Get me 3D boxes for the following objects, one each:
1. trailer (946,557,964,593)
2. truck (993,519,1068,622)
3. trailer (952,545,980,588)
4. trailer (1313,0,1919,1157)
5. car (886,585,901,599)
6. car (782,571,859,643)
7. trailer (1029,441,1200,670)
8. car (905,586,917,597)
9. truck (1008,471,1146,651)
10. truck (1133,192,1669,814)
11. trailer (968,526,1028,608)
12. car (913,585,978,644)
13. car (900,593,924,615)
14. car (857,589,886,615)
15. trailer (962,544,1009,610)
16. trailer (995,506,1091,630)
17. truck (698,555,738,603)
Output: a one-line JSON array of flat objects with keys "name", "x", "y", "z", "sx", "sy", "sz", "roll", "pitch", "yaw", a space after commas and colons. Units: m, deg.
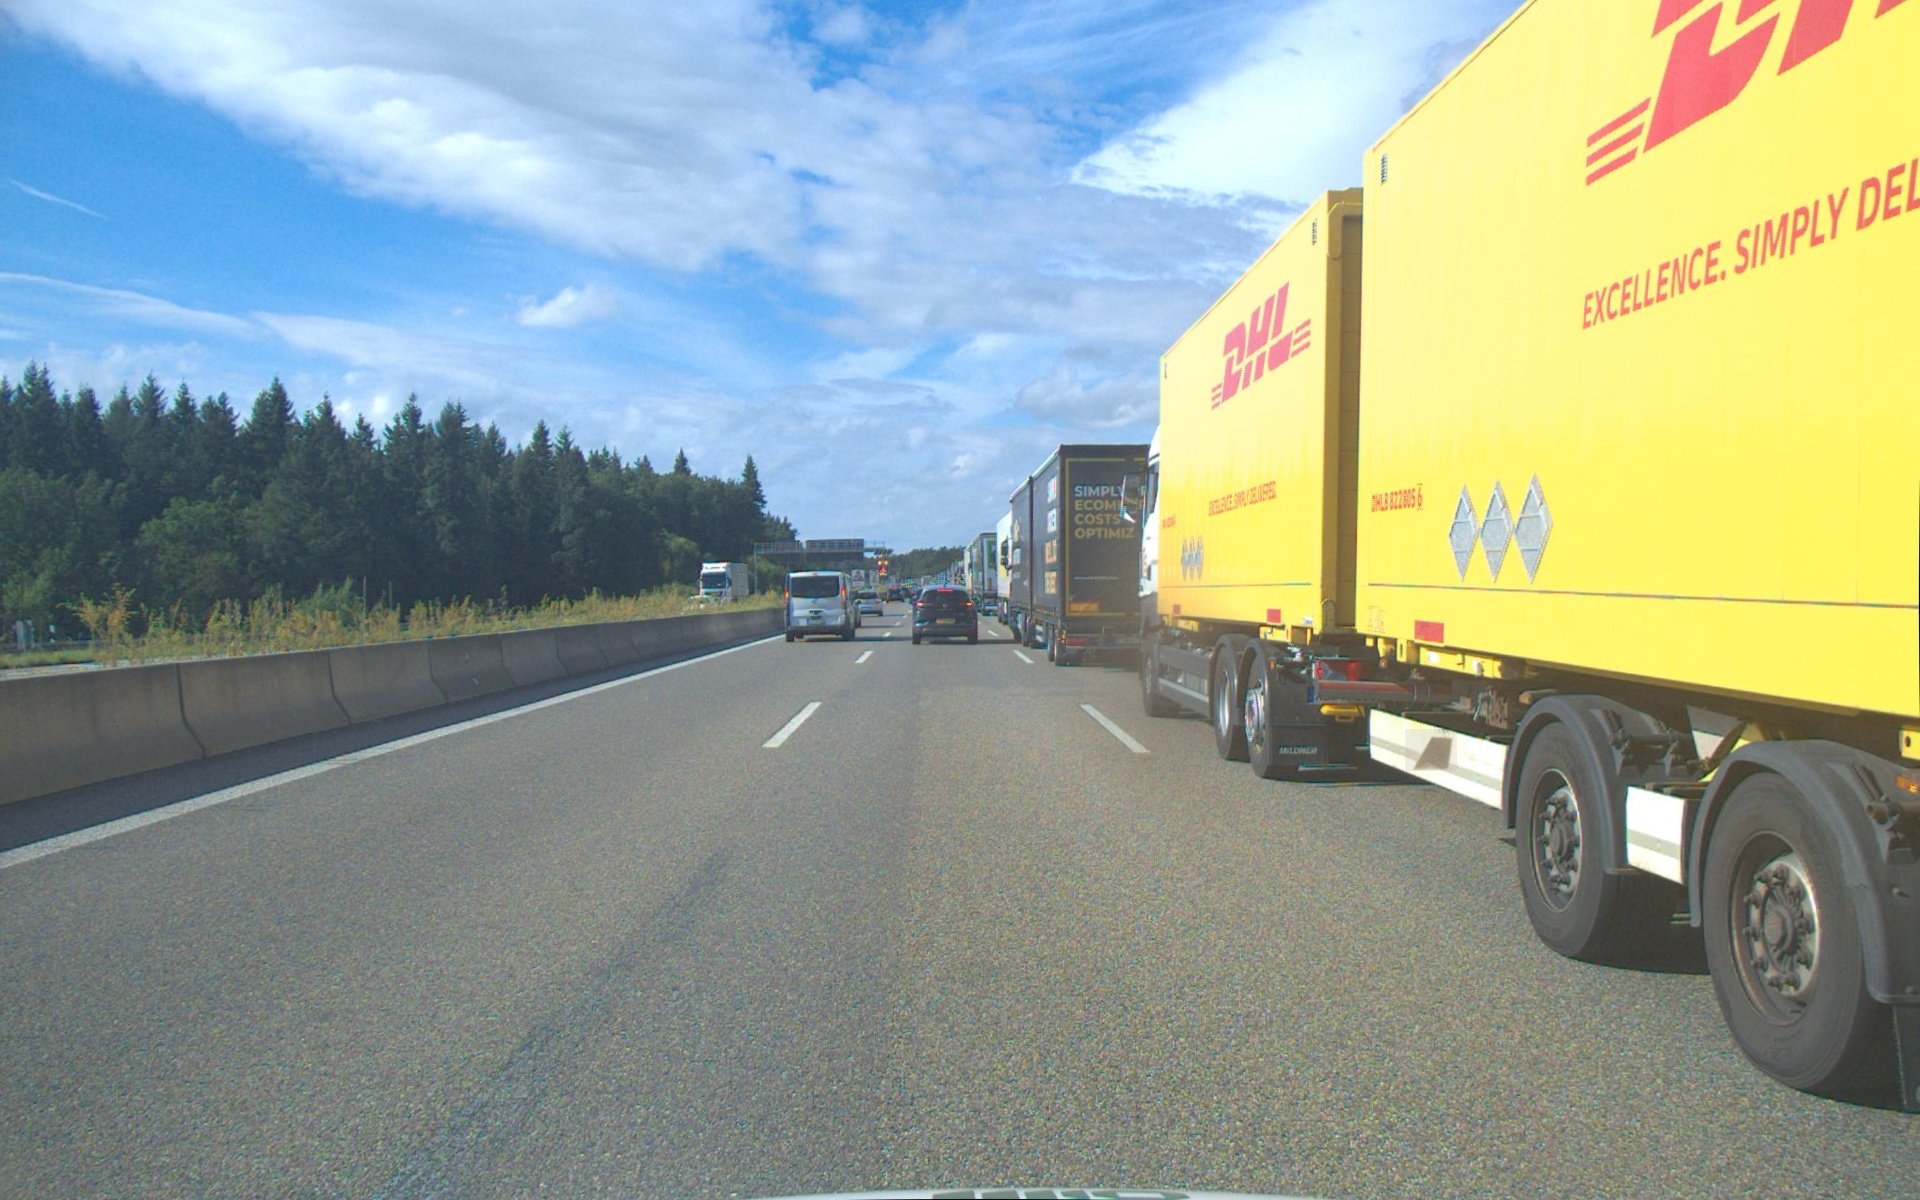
[{"name": "trailer", "x": -0.627, "y": -3.037, "z": 204.102, "sx": 2.106, "sy": 4.333, "sz": 8.439, "roll": -2, "pitch": 0, "yaw": 0}, {"name": "truck", "x": 2.831, "y": -1.182, "z": 67.862, "sx": 2.745, "sy": 4.007, "sz": 5.825, "roll": -1, "pitch": 0, "yaw": 0}, {"name": "trailer", "x": 0.646, "y": -3.550, "z": 177.945, "sx": 2.745, "sy": 4.318, "sz": 11.056, "roll": -3, "pitch": 0, "yaw": 0}, {"name": "trailer", "x": 3.664, "y": -0.626, "z": 6.643, "sx": 2.363, "sy": 4.139, "sz": 8.925, "roll": 1, "pitch": 1, "yaw": -1}, {"name": "car", "x": -6.494, "y": -0.821, "z": 162.489, "sx": 1.406, "sy": 1.333, "sz": 3.532, "roll": 1, "pitch": 0, "yaw": -1}, {"name": "car", "x": -4.084, "y": 0.181, "z": 49.154, "sx": 1.893, "sy": 2.013, "sz": 5.097, "roll": 1, "pitch": 0, "yaw": -1}, {"name": "trailer", "x": 2.924, "y": -0.855, "z": 33.707, "sx": 2.660, "sy": 4.030, "sz": 8.712, "roll": 1, "pitch": 1, "yaw": 0}, {"name": "car", "x": -5.768, "y": -1.010, "z": 194.501, "sx": 1.406, "sy": 1.333, "sz": 3.532, "roll": 1, "pitch": 0, "yaw": -1}, {"name": "truck", "x": 2.848, "y": -0.916, "z": 43.171, "sx": 2.685, "sy": 4.109, "sz": 10.201, "roll": 1, "pitch": 0, "yaw": -1}, {"name": "truck", "x": 3.473, "y": -0.693, "z": 15.944, "sx": 2.363, "sy": 4.139, "sz": 9.663, "roll": 1, "pitch": 1, "yaw": -1}, {"name": "trailer", "x": 1.891, "y": -1.658, "z": 87.641, "sx": 2.607, "sy": 3.936, "sz": 13.392, "roll": -2, "pitch": 0, "yaw": -1}, {"name": "car", "x": -0.418, "y": 0.374, "z": 45.190, "sx": 1.662, "sy": 1.509, "sz": 4.159, "roll": 1, "pitch": 0, "yaw": -1}, {"name": "car", "x": -3.176, "y": 0.271, "z": 109.460, "sx": 1.549, "sy": 1.420, "sz": 3.206, "roll": 1, "pitch": 0, "yaw": -2}, {"name": "car", "x": -4.961, "y": 0.118, "z": 93.244, "sx": 1.469, "sy": 1.420, "sz": 3.475, "roll": 1, "pitch": 0, "yaw": -1}, {"name": "trailer", "x": 1.639, "y": -1.576, "z": 113.468, "sx": 2.648, "sy": 4.152, "sz": 12.942, "roll": -3, "pitch": 1, "yaw": -1}, {"name": "trailer", "x": 2.855, "y": -1.069, "z": 60.731, "sx": 2.735, "sy": 4.007, "sz": 13.069, "roll": -1, "pitch": 0, "yaw": 0}, {"name": "truck", "x": -21.124, "y": -1.851, "z": 144.667, "sx": 2.762, "sy": 4.045, "sz": 5.831, "roll": -1, "pitch": 0, "yaw": -2}]
